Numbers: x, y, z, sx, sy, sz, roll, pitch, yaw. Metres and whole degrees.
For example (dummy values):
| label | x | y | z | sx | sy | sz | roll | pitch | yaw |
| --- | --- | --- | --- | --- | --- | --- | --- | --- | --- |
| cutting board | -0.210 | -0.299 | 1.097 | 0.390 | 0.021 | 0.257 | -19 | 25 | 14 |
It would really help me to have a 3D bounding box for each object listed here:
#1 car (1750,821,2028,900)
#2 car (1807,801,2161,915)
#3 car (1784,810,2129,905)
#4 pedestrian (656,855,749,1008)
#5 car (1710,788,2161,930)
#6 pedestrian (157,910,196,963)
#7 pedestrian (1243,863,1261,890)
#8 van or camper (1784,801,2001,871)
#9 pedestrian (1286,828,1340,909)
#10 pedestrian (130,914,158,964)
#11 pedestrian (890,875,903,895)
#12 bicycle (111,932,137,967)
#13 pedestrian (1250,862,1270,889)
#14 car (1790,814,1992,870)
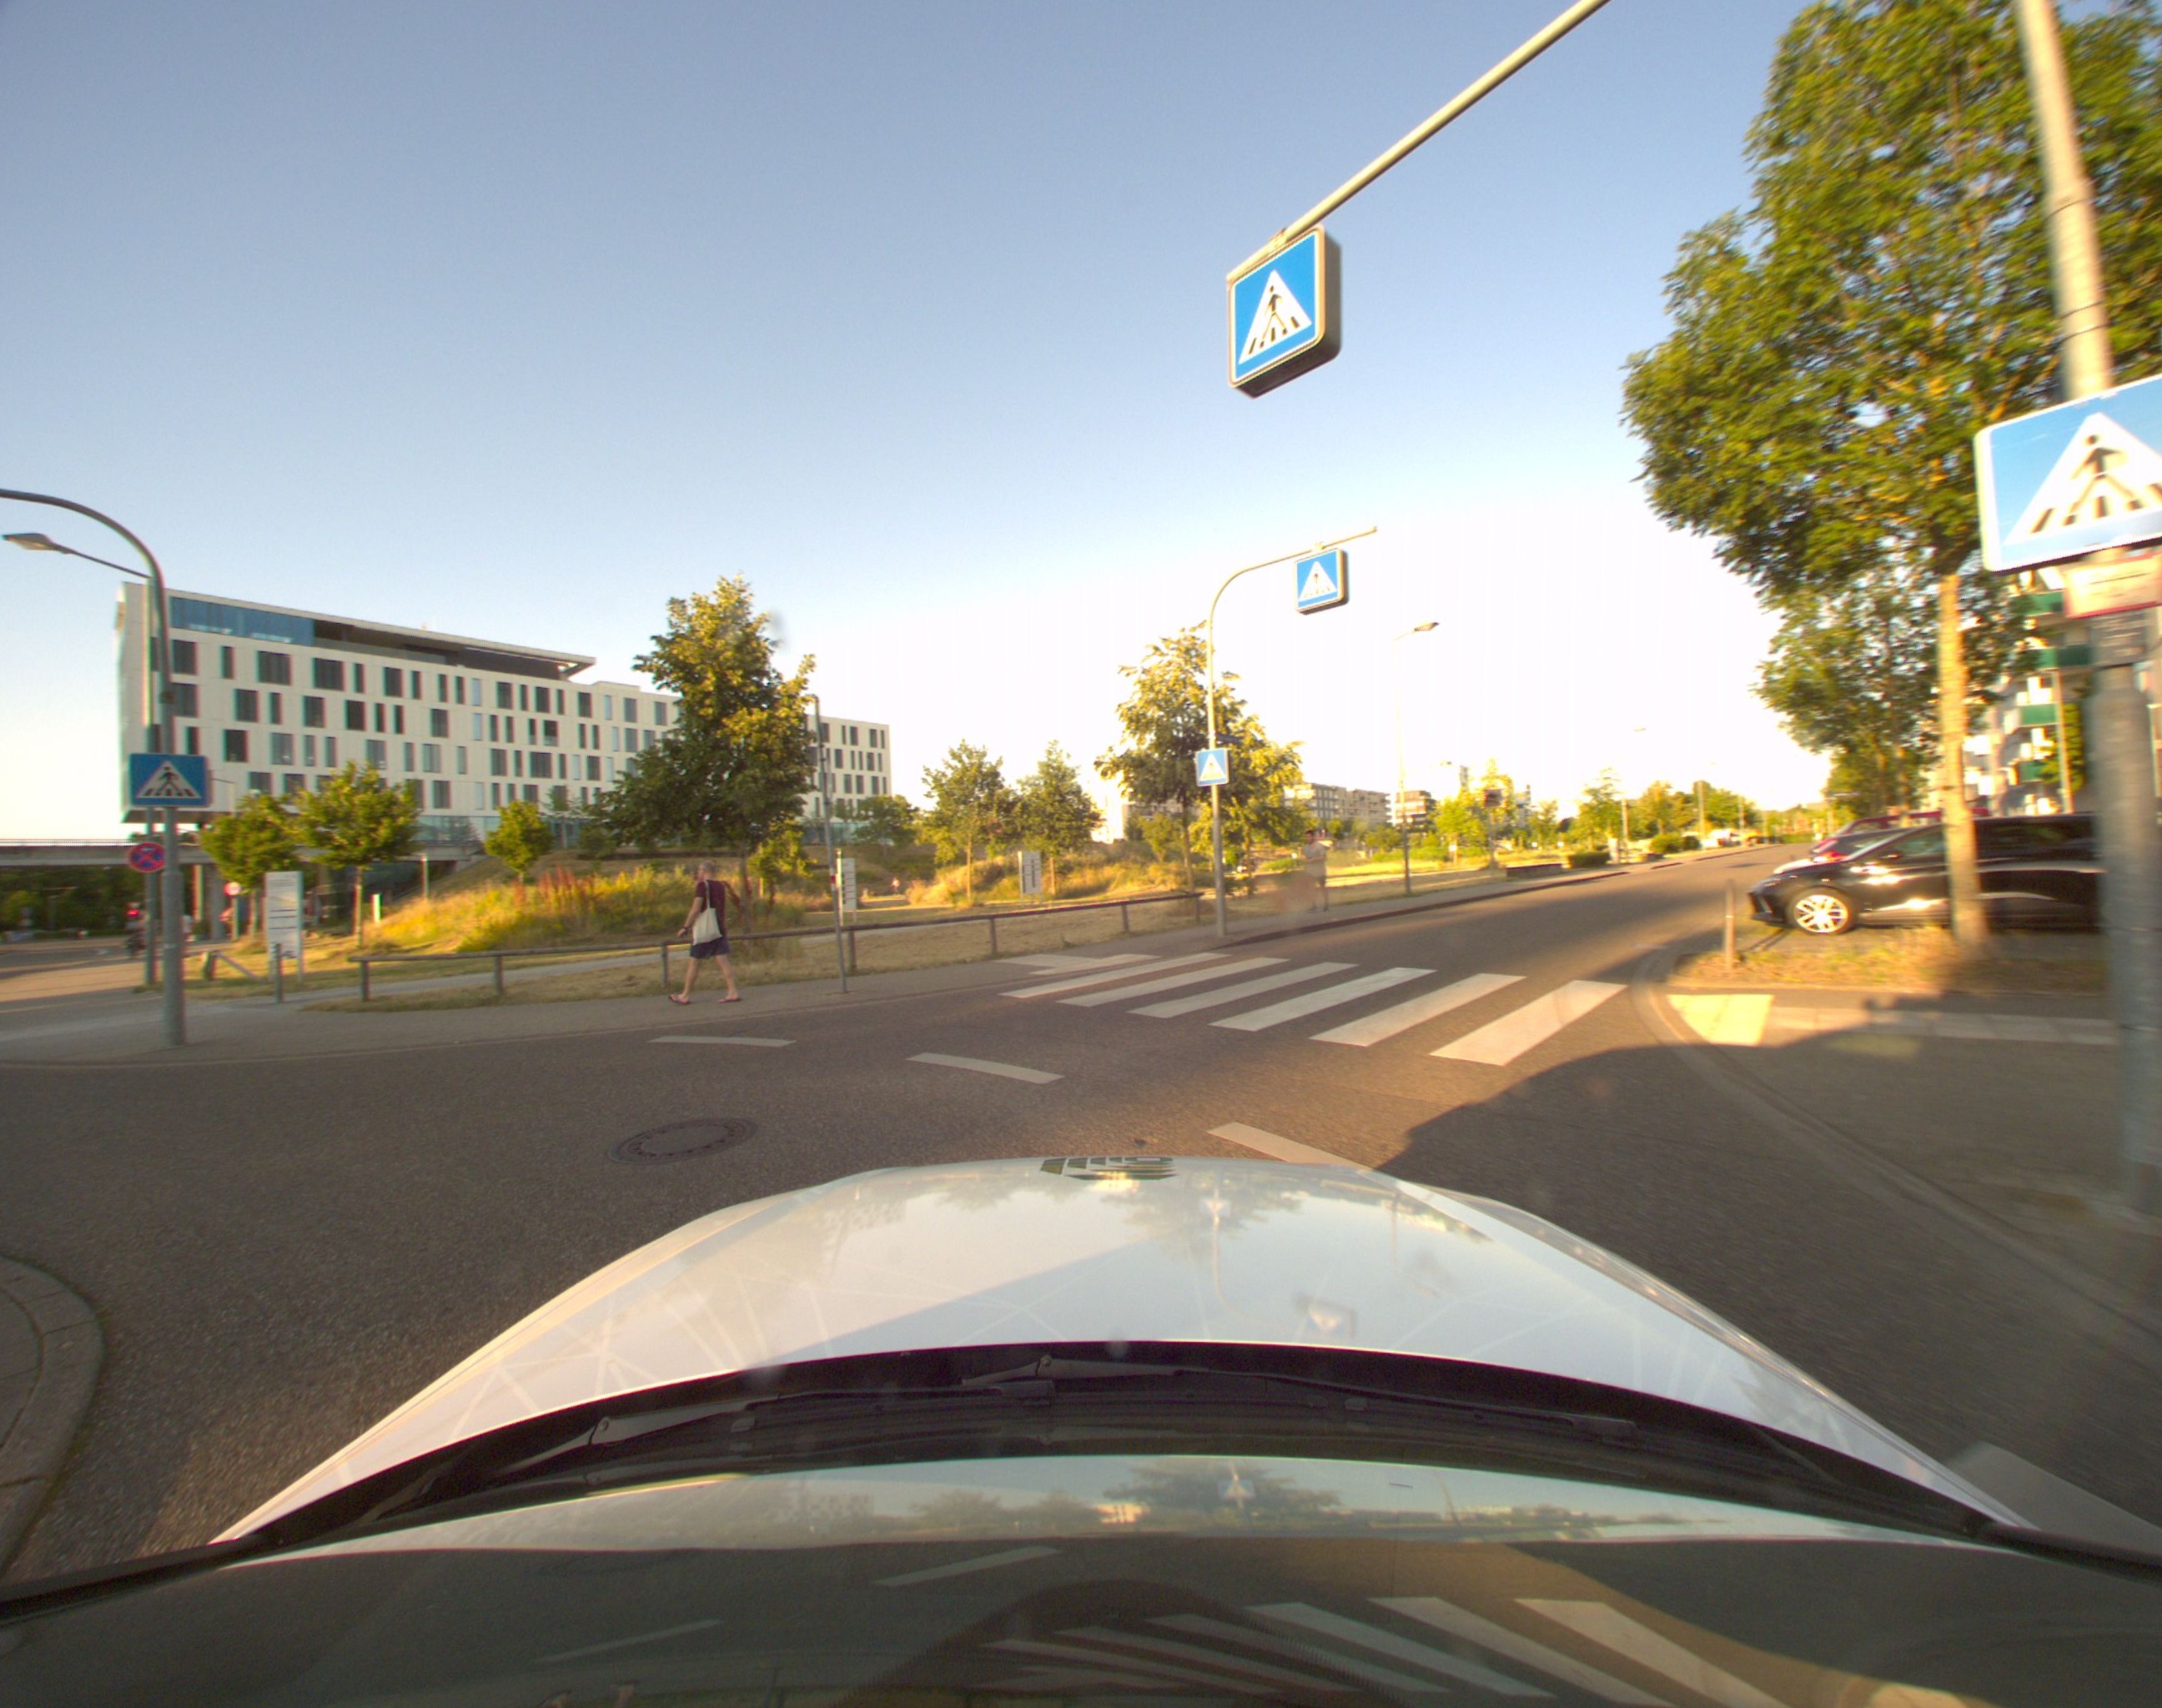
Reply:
| label | x | y | z | sx | sy | sz | roll | pitch | yaw |
| --- | --- | --- | --- | --- | --- | --- | --- | --- | --- |
| car | 16.920 | 0.175 | 17.351 | 4.004 | 1.480 | 1.712 | -3 | -1 | 42 |
| car | 13.928 | 0.106 | 12.563 | 3.954 | 1.374 | 1.569 | -7 | -3 | 42 |
| car | 15.379 | 0.114 | 14.675 | 4.004 | 1.480 | 1.712 | -3 | -1 | 42 |
| pedestrian | -4.705 | 0.923 | 10.119 | 0.791 | 1.784 | 0.739 | -3 | -1 | 42 |
| car | 11.498 | 0.144 | 11.064 | 4.423 | 1.487 | 1.844 | -7 | -4 | 42 |
| pedestrian | -32.268 | 2.929 | 29.076 | 0.839 | 1.766 | 0.808 | -2 | -1 | -44 |
| pedestrian | 6.626 | 0.863 | 31.545 | 0.493 | 1.004 | 0.484 | -3 | -1 | 39 |
| van or camper | 27.495 | -0.554 | 27.895 | 5.066 | 2.060 | 1.889 | -3 | -1 | 42 |
| pedestrian | 5.107 | 0.315 | 17.915 | 0.806 | 1.730 | 0.758 | -2 | -1 | -42 |
| pedestrian | -35.740 | 3.230 | 31.077 | 0.600 | 1.802 | 0.808 | -2 | -1 | -44 |
| pedestrian | -16.511 | 2.805 | 72.866 | 0.822 | 1.766 | 0.824 | -2 | -1 | -43 |
| bicycle | -36.055 | 3.582 | 30.697 | 0.454 | 1.169 | 1.917 | -2 | -1 | -45 |
| pedestrian | 7.049 | 0.850 | 32.076 | 0.493 | 1.004 | 0.575 | -3 | -1 | 39 |
| car | 25.588 | -0.348 | 25.968 | 4.410 | 1.521 | 1.712 | -3 | -1 | 42 |
